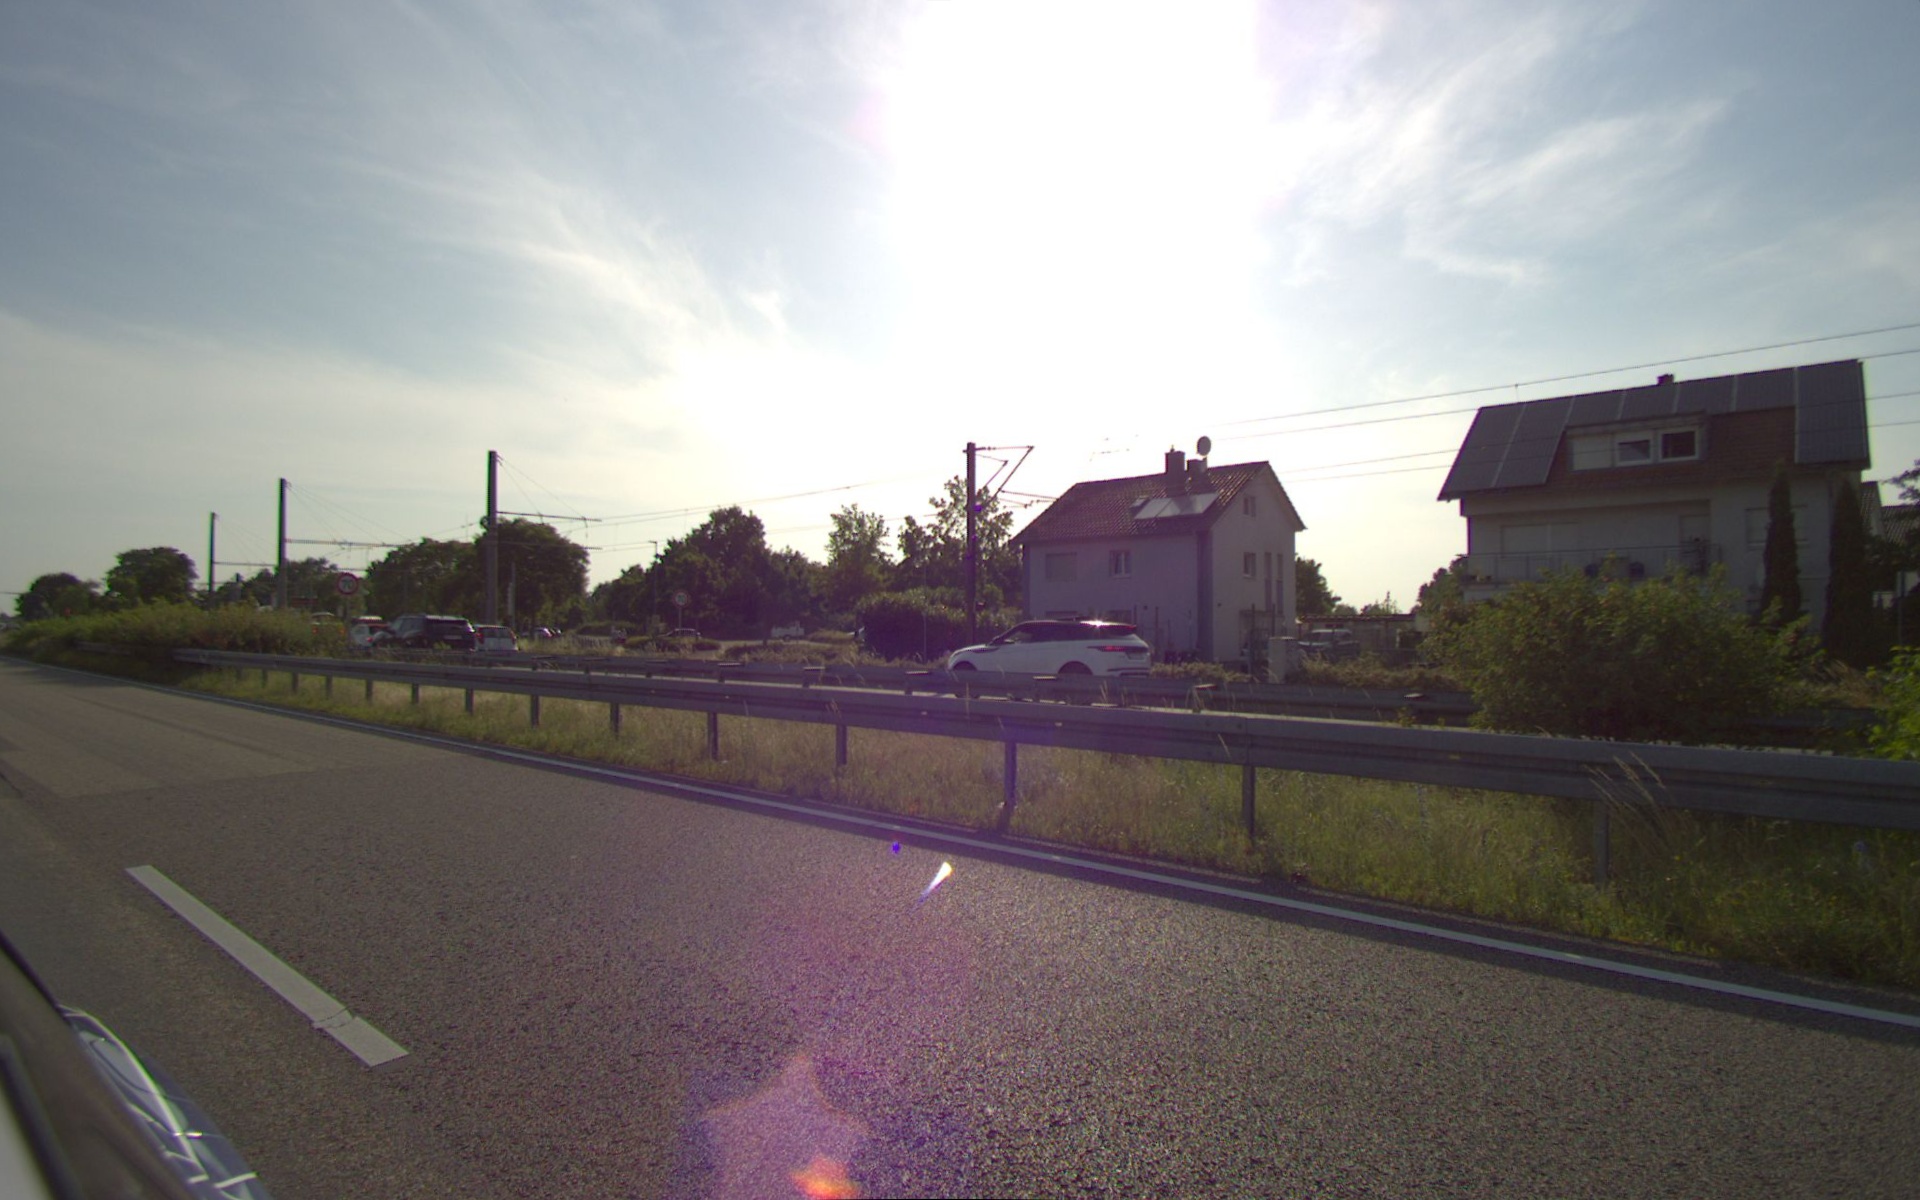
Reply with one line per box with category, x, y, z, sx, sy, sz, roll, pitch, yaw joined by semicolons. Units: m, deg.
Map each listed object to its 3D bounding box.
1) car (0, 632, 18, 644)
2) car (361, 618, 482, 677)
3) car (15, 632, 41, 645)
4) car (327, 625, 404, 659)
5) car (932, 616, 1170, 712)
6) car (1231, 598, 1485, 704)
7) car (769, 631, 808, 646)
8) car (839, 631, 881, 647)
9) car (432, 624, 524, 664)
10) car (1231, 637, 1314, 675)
car;-117.728;4.652;124.815;4.973;1.426;1.643;-2;-4;41
car;-16.226;1.436;30.407;4.317;1.646;1.711;-2;-5;41
car;-103.060;4.283;111.877;4.539;1.391;1.643;-2;-4;41
car;-25.316;1.793;43.089;3.620;1.377;1.711;-2;-5;41
car;1.676;1.166;19.718;4.444;1.624;1.697;-2;0;41
car;7.427;0.900;19.061;3.998;1.763;1.973;-2;0;41
car;-16.563;3.741;97.801;3.562;1.377;1.739;2;-4;-12
car;-9.032;3.541;91.155;3.620;1.377;1.711;-2;-5;41
car;-17.591;1.605;36.883;3.620;1.377;1.711;-2;-5;41
car;13.209;2.327;42.664;1.784;1.409;3.942;-2;-2;44
